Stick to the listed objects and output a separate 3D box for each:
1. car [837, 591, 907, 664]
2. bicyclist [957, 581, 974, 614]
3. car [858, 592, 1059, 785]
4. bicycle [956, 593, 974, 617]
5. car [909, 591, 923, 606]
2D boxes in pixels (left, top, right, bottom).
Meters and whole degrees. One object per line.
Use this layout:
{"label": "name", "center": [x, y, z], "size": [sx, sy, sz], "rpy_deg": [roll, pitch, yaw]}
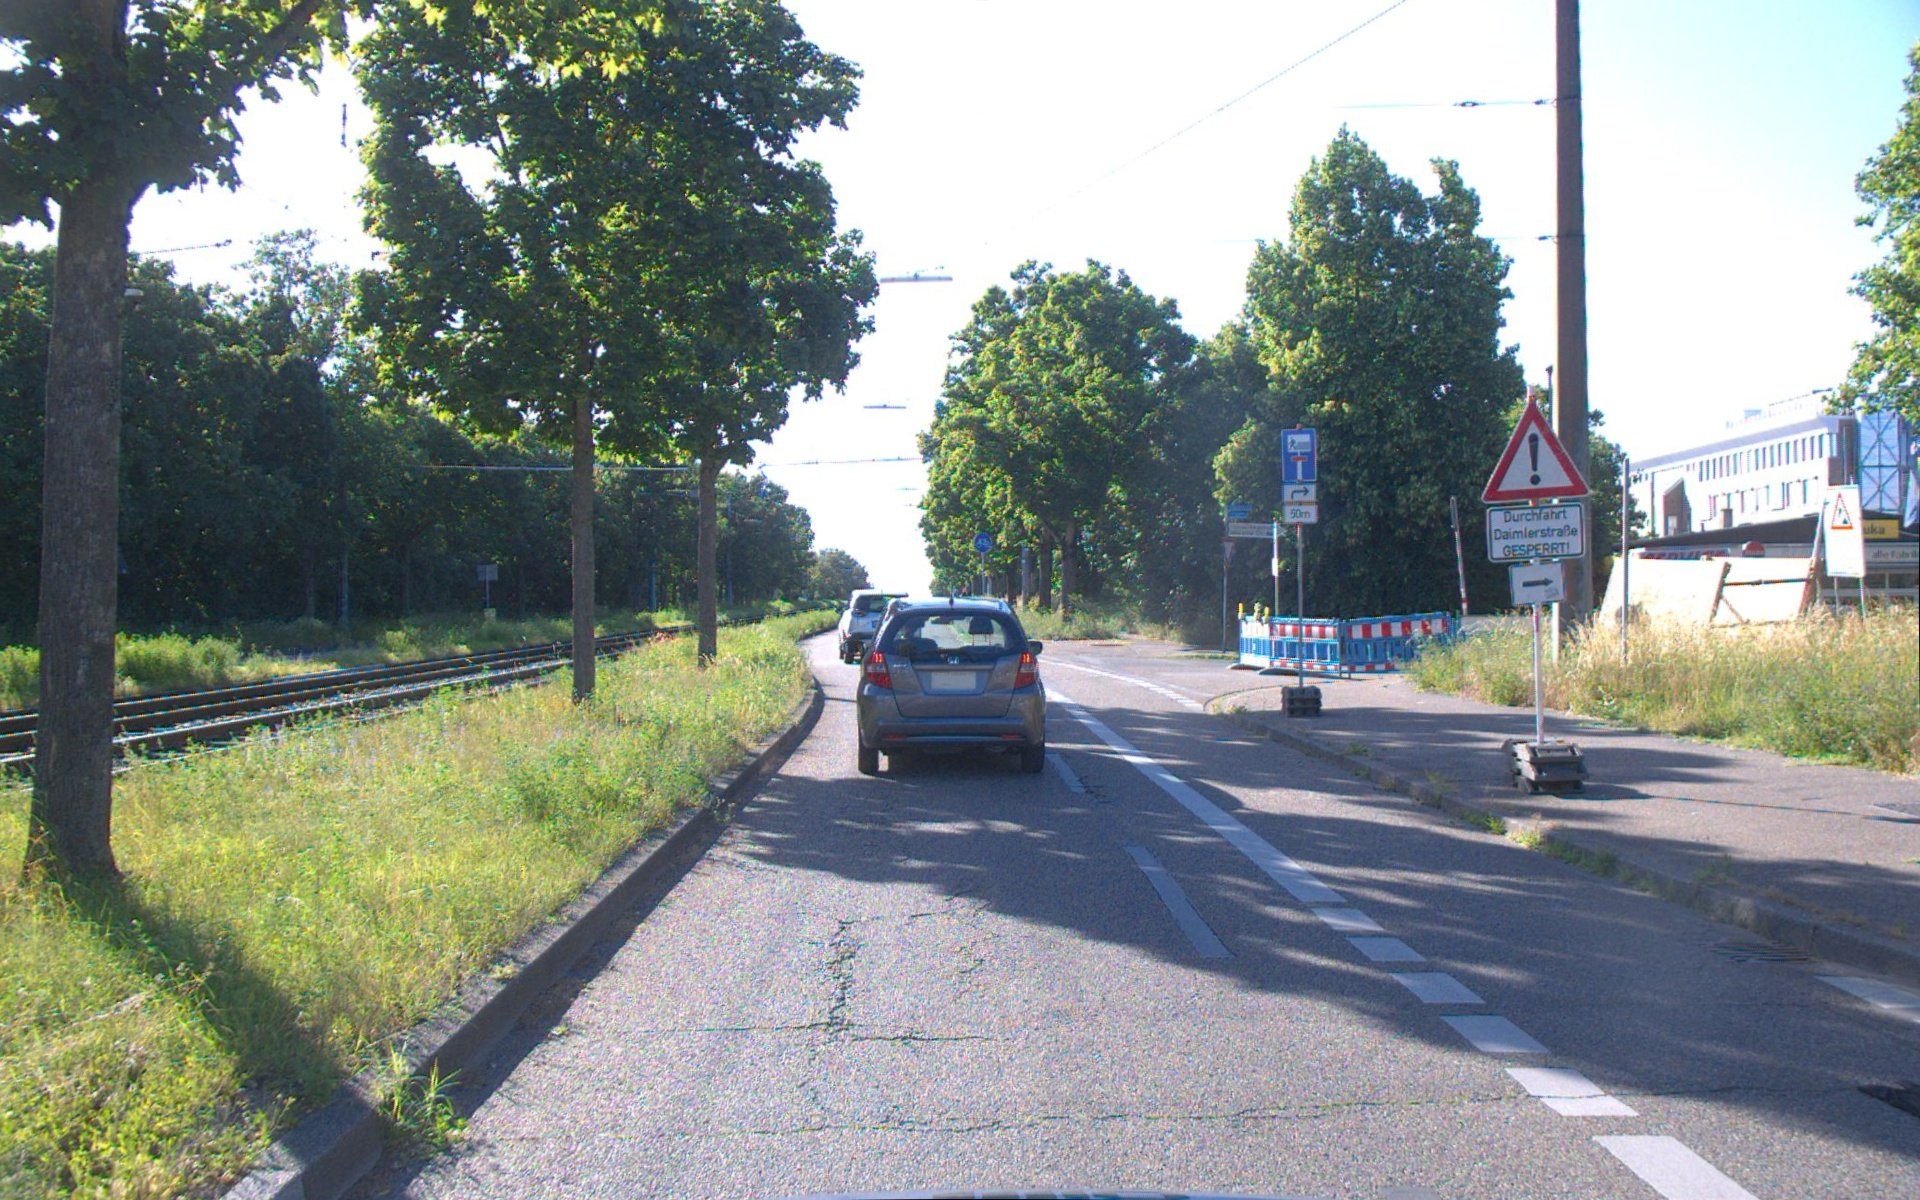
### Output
{"label": "car", "center": [-2.000, 0.613, 36.960], "size": [1.326, 1.554, 3.118], "rpy_deg": [-1, -1, -7]}
{"label": "bicyclist", "center": [0.246, -0.114, 78.847], "size": [0.801, 1.551, 0.966], "rpy_deg": [0, -2, 0]}
{"label": "car", "center": [-0.103, 0.729, 15.554], "size": [1.637, 1.542, 3.672], "rpy_deg": [1, 1, -3]}
{"label": "bicycle", "center": [0.234, 0.227, 78.818], "size": [0.801, 1.066, 2.505], "rpy_deg": [0, -2, 0]}
{"label": "car", "center": [-6.594, -0.222, 249.550], "size": [1.953, 2.048, 3.999], "rpy_deg": [-4, -1, 0]}
